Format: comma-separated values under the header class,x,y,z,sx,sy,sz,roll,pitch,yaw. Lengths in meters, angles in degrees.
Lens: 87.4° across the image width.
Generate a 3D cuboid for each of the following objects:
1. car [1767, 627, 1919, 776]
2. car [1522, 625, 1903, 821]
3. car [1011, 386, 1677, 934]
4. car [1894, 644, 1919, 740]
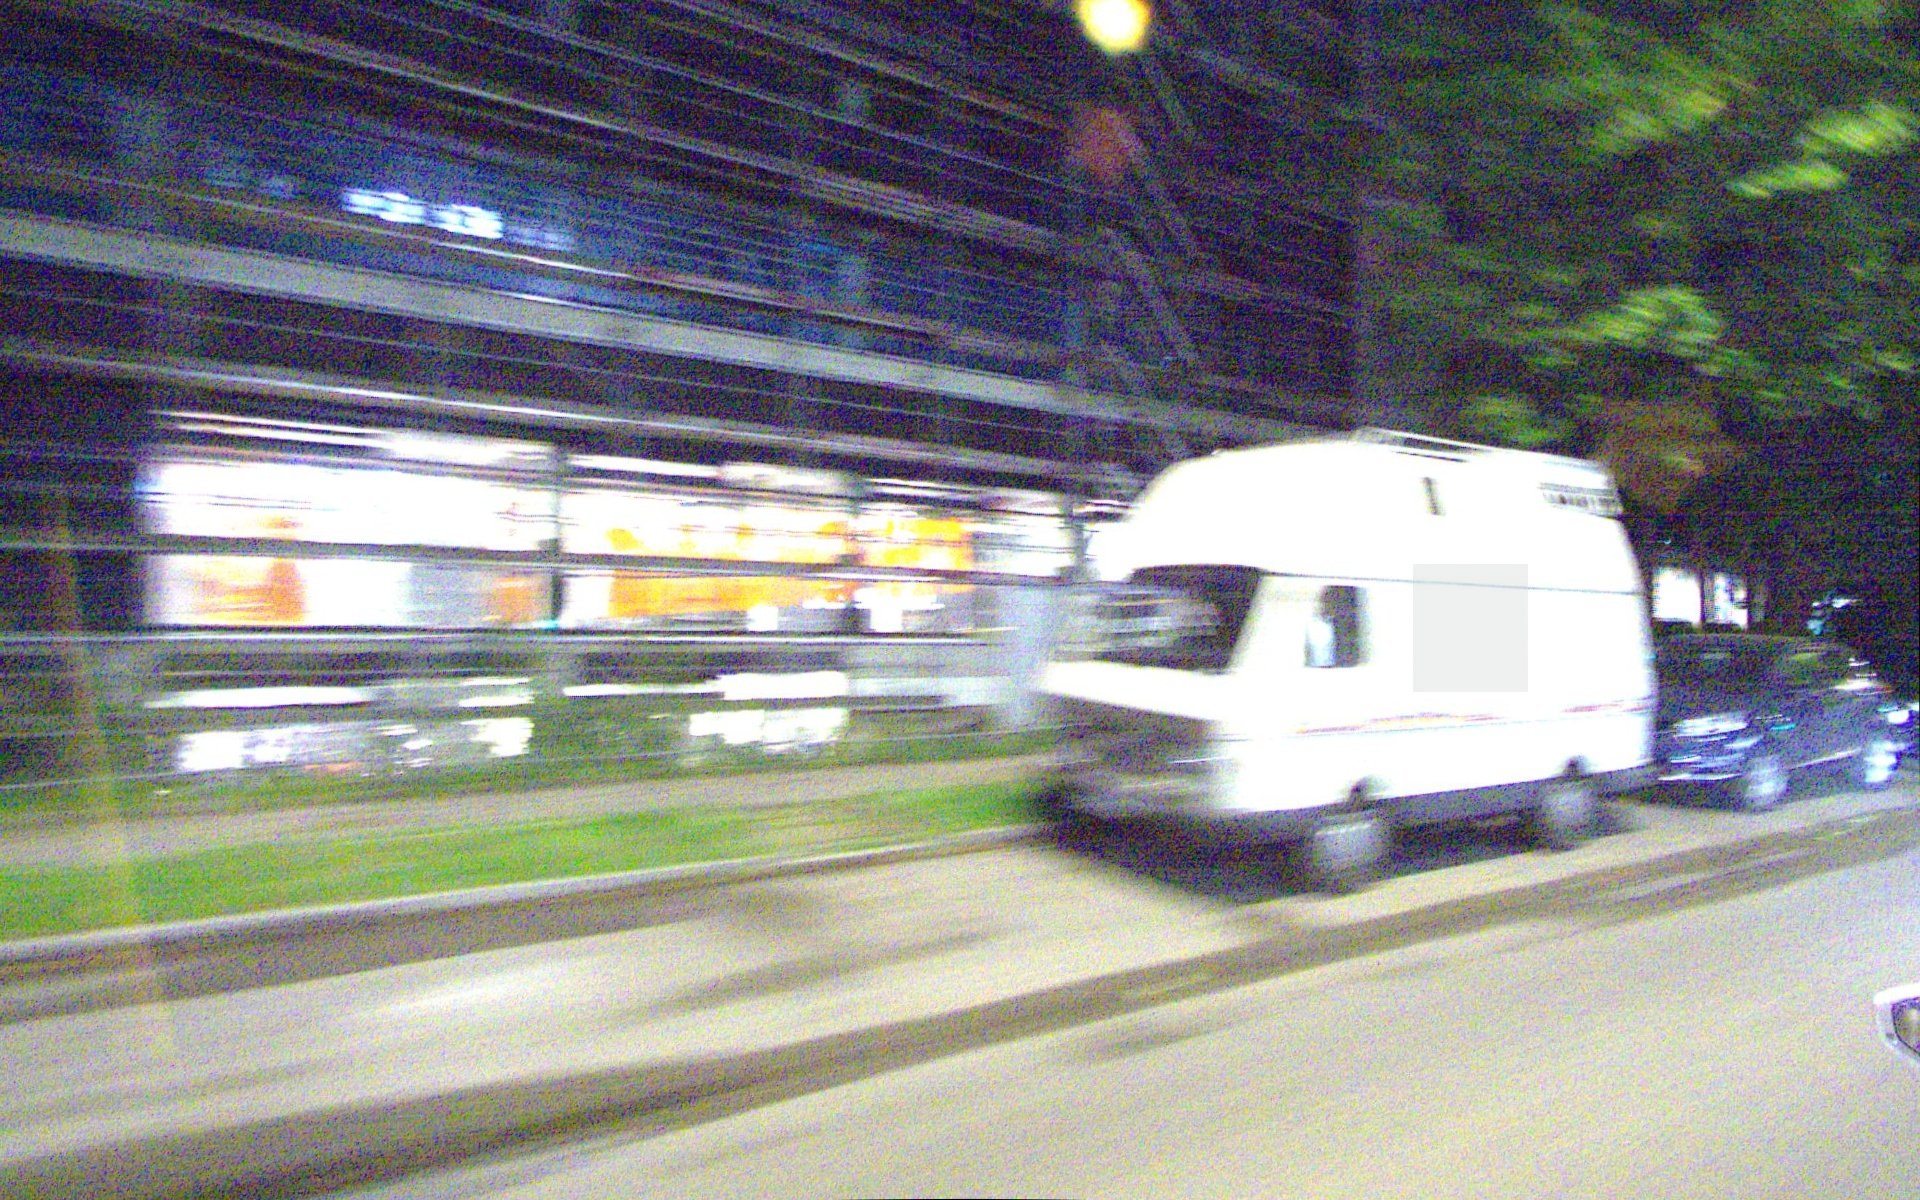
class,x,y,z,sx,sy,sz,roll,pitch,yaw
car,12.350,1.208,12.961,4.251,1.628,1.732,1,0,-32
car,7.879,1.109,10.441,4.068,1.628,1.733,1,0,-31
car,3.018,0.359,7.610,4.854,2.948,2.168,1,0,-31
car,16.563,1.430,15.688,4.580,1.430,1.696,2,-1,-31
